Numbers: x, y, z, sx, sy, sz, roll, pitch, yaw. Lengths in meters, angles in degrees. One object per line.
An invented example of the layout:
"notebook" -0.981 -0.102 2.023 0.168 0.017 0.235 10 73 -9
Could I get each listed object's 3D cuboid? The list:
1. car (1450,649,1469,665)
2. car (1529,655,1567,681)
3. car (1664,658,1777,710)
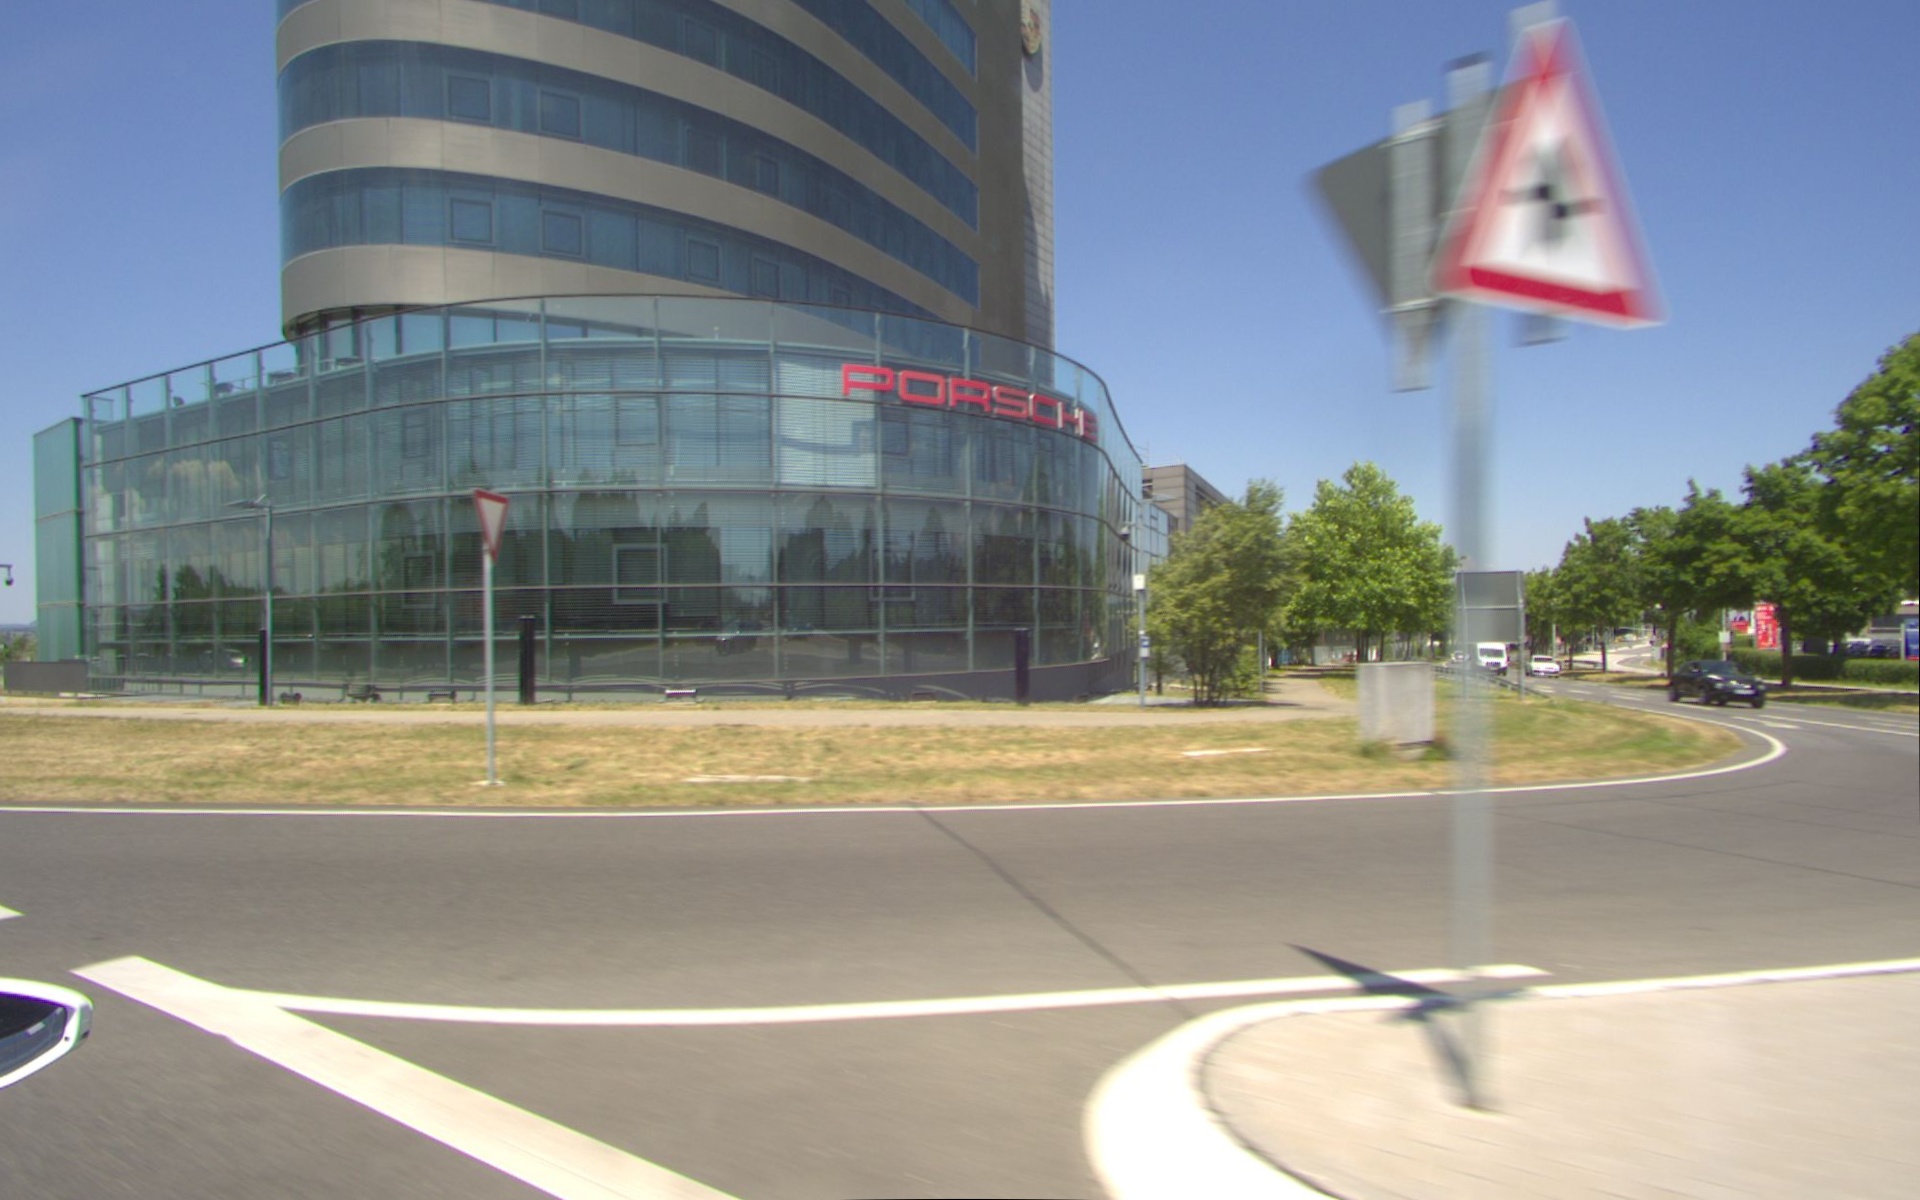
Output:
"car" 60.108 6.821 120.556 1.839 1.833 4.235 -1 -2 25
"car" 44.493 5.102 75.827 1.837 1.833 4.238 -1 -2 21
"car" 26.484 2.889 35.032 1.904 1.619 4.347 0 -2 20
